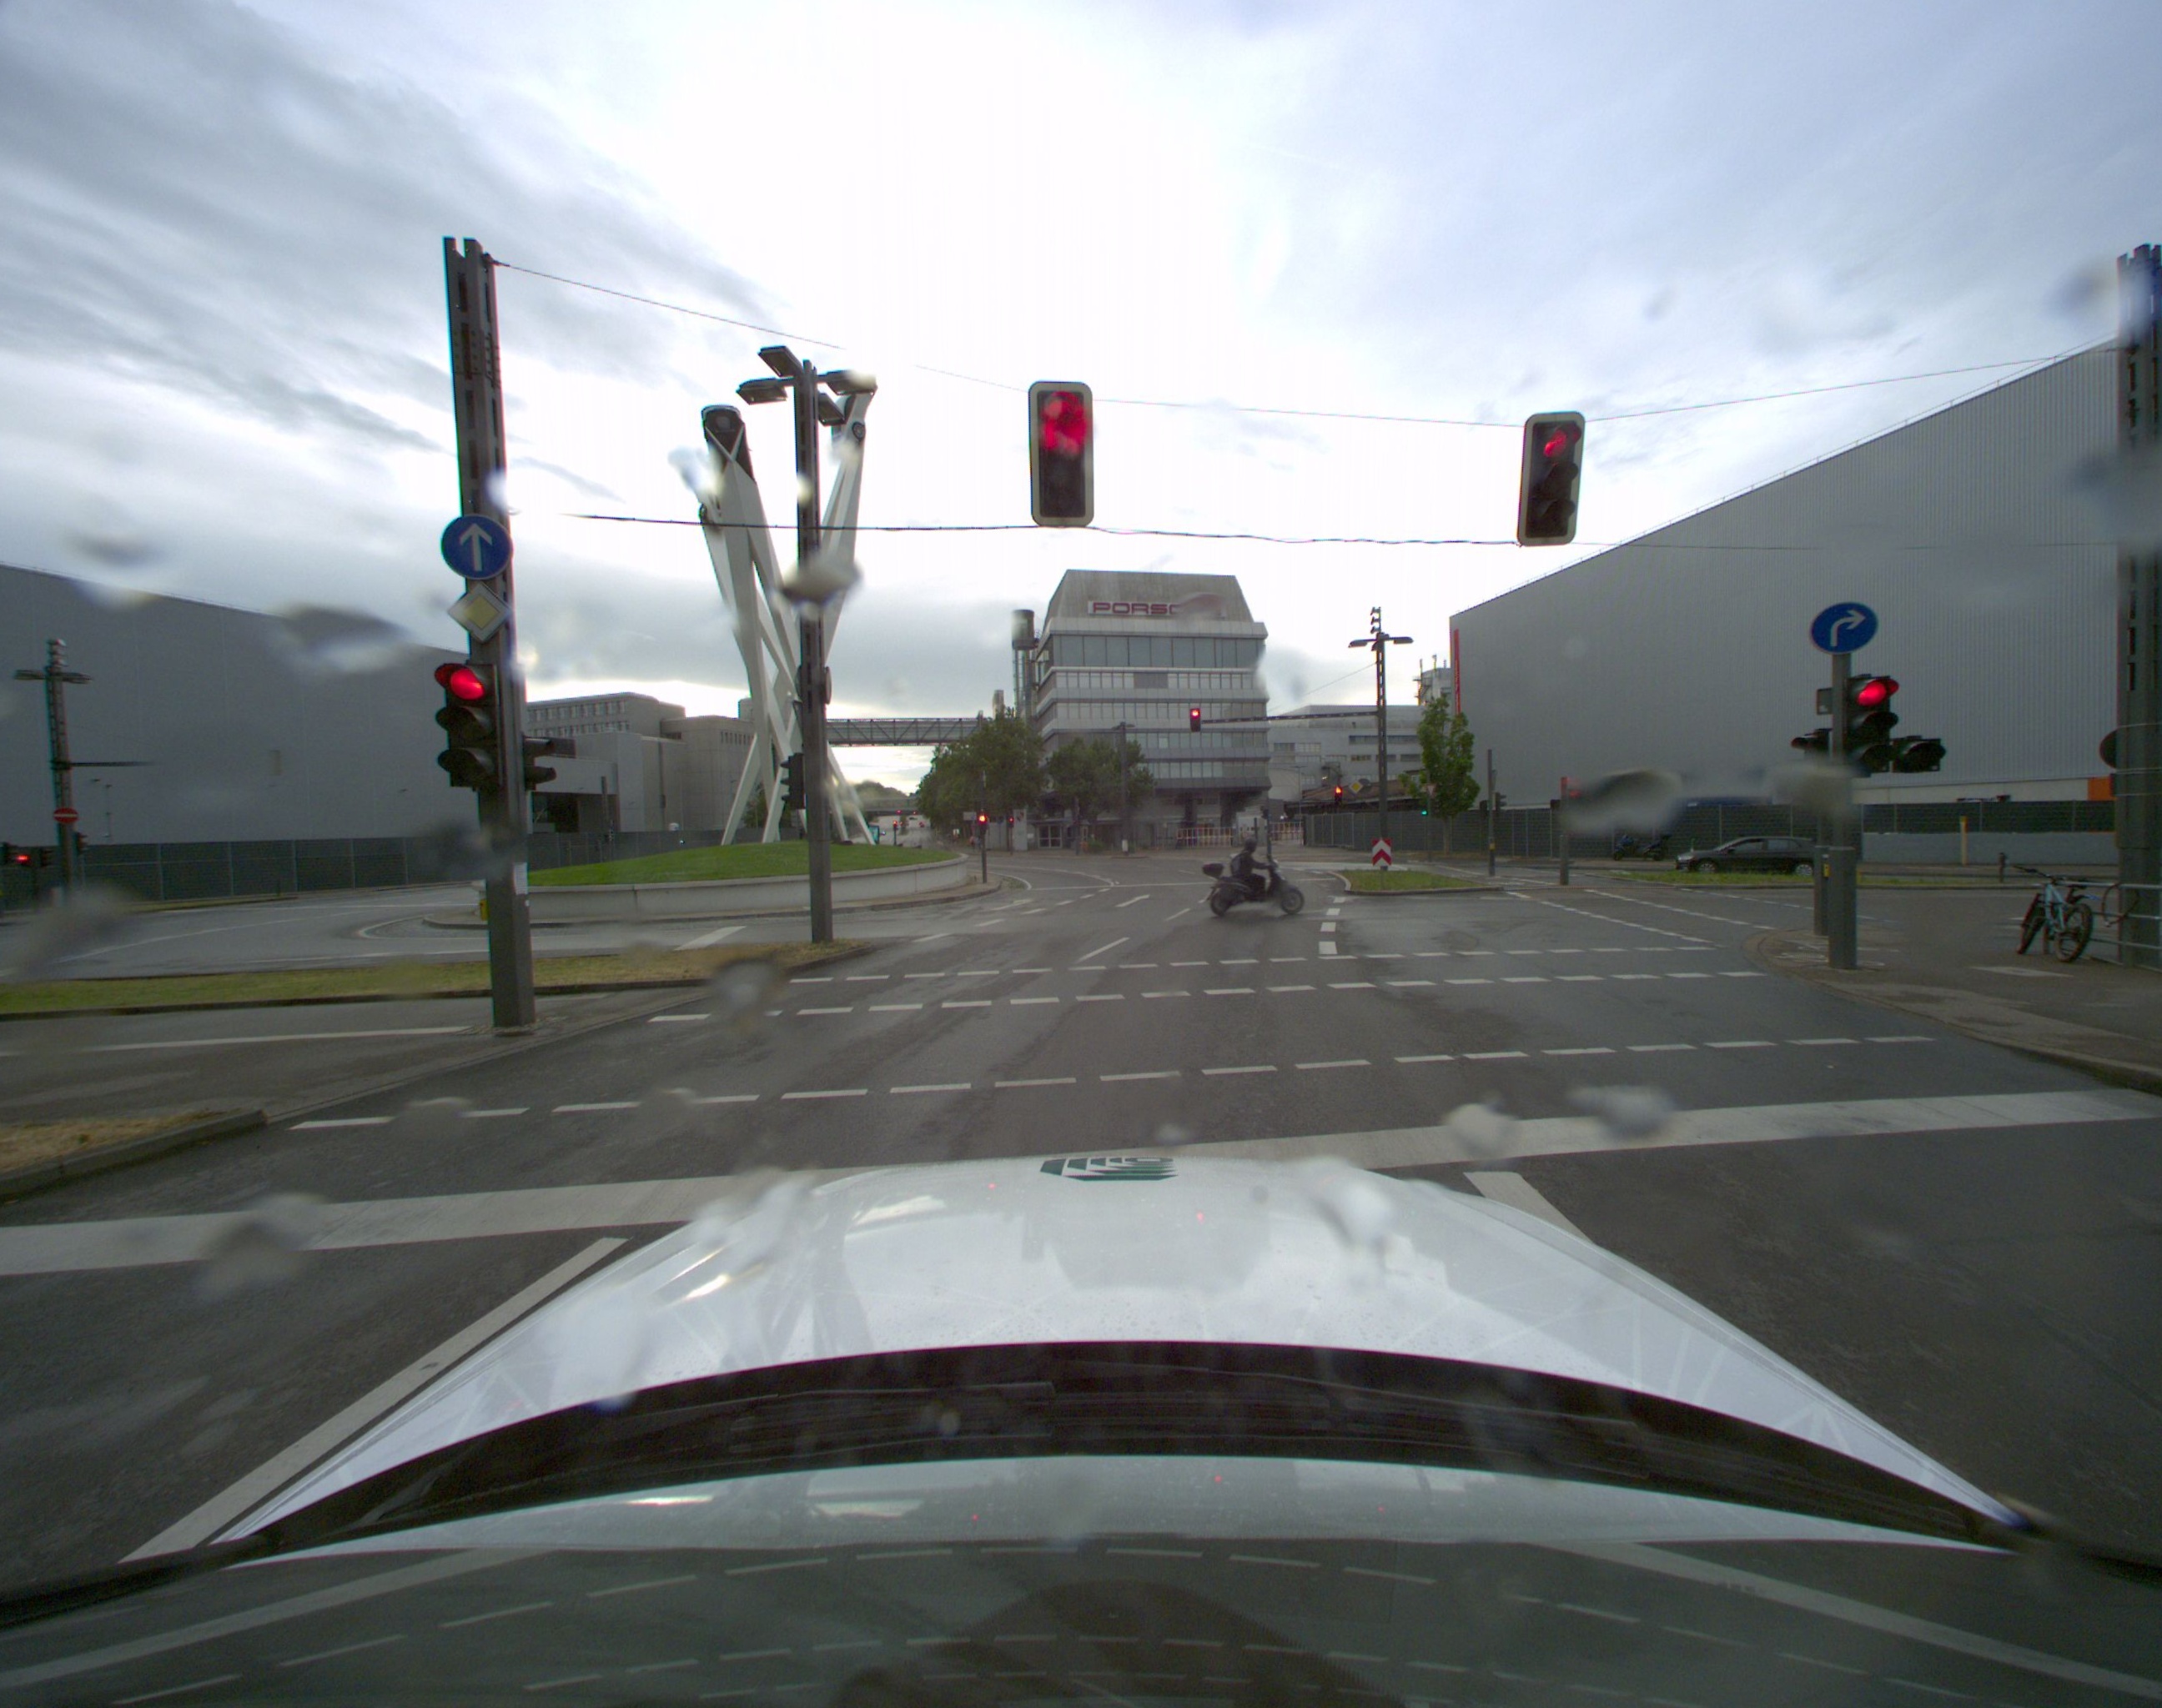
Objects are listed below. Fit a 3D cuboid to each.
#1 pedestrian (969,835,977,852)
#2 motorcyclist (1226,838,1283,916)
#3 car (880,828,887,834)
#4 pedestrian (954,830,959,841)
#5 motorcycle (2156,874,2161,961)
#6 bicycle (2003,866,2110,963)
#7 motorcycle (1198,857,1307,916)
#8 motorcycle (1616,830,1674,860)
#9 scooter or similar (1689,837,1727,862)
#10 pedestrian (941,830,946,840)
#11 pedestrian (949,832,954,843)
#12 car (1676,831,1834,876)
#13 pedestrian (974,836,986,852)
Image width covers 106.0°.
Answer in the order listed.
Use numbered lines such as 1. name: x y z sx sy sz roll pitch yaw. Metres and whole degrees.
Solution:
1. pedestrian: -10.310 -1.028 77.591 0.708 1.591 0.839 -2 2 -7
2. motorcyclist: 3.741 0.473 17.599 1.029 1.622 0.670 -2 0 -4
3. car: -57.407 -6.652 236.876 1.886 1.550 4.486 -1 1 -14
4. pedestrian: -20.044 -2.955 131.068 0.757 1.740 0.712 0 -1 -8
5. motorcycle: 15.173 0.825 10.312 2.074 1.145 0.490 0 -1 11
6. bicycle: 12.562 0.731 10.536 0.416 1.130 2.086 -1 -1 37
7. motorcycle: 3.697 0.690 17.634 2.255 1.192 0.450 -2 0 -4
8. motorcycle: 25.572 -0.403 36.961 2.074 1.310 0.659 0 2 27
9. scooter or similar: 27.548 -0.211 35.773 0.387 1.028 1.259 -2 2 -29
10. pedestrian: -28.173 -3.815 166.964 0.761 2.013 0.693 -1 1 5
11. pedestrian: -19.707 -2.524 123.726 0.712 1.740 0.757 0 -1 -12
12. car: 22.816 -0.034 27.777 3.949 1.425 1.732 0 1 31
13. pedestrian: -9.495 -0.952 76.520 0.834 1.520 0.836 -3 2 -22
